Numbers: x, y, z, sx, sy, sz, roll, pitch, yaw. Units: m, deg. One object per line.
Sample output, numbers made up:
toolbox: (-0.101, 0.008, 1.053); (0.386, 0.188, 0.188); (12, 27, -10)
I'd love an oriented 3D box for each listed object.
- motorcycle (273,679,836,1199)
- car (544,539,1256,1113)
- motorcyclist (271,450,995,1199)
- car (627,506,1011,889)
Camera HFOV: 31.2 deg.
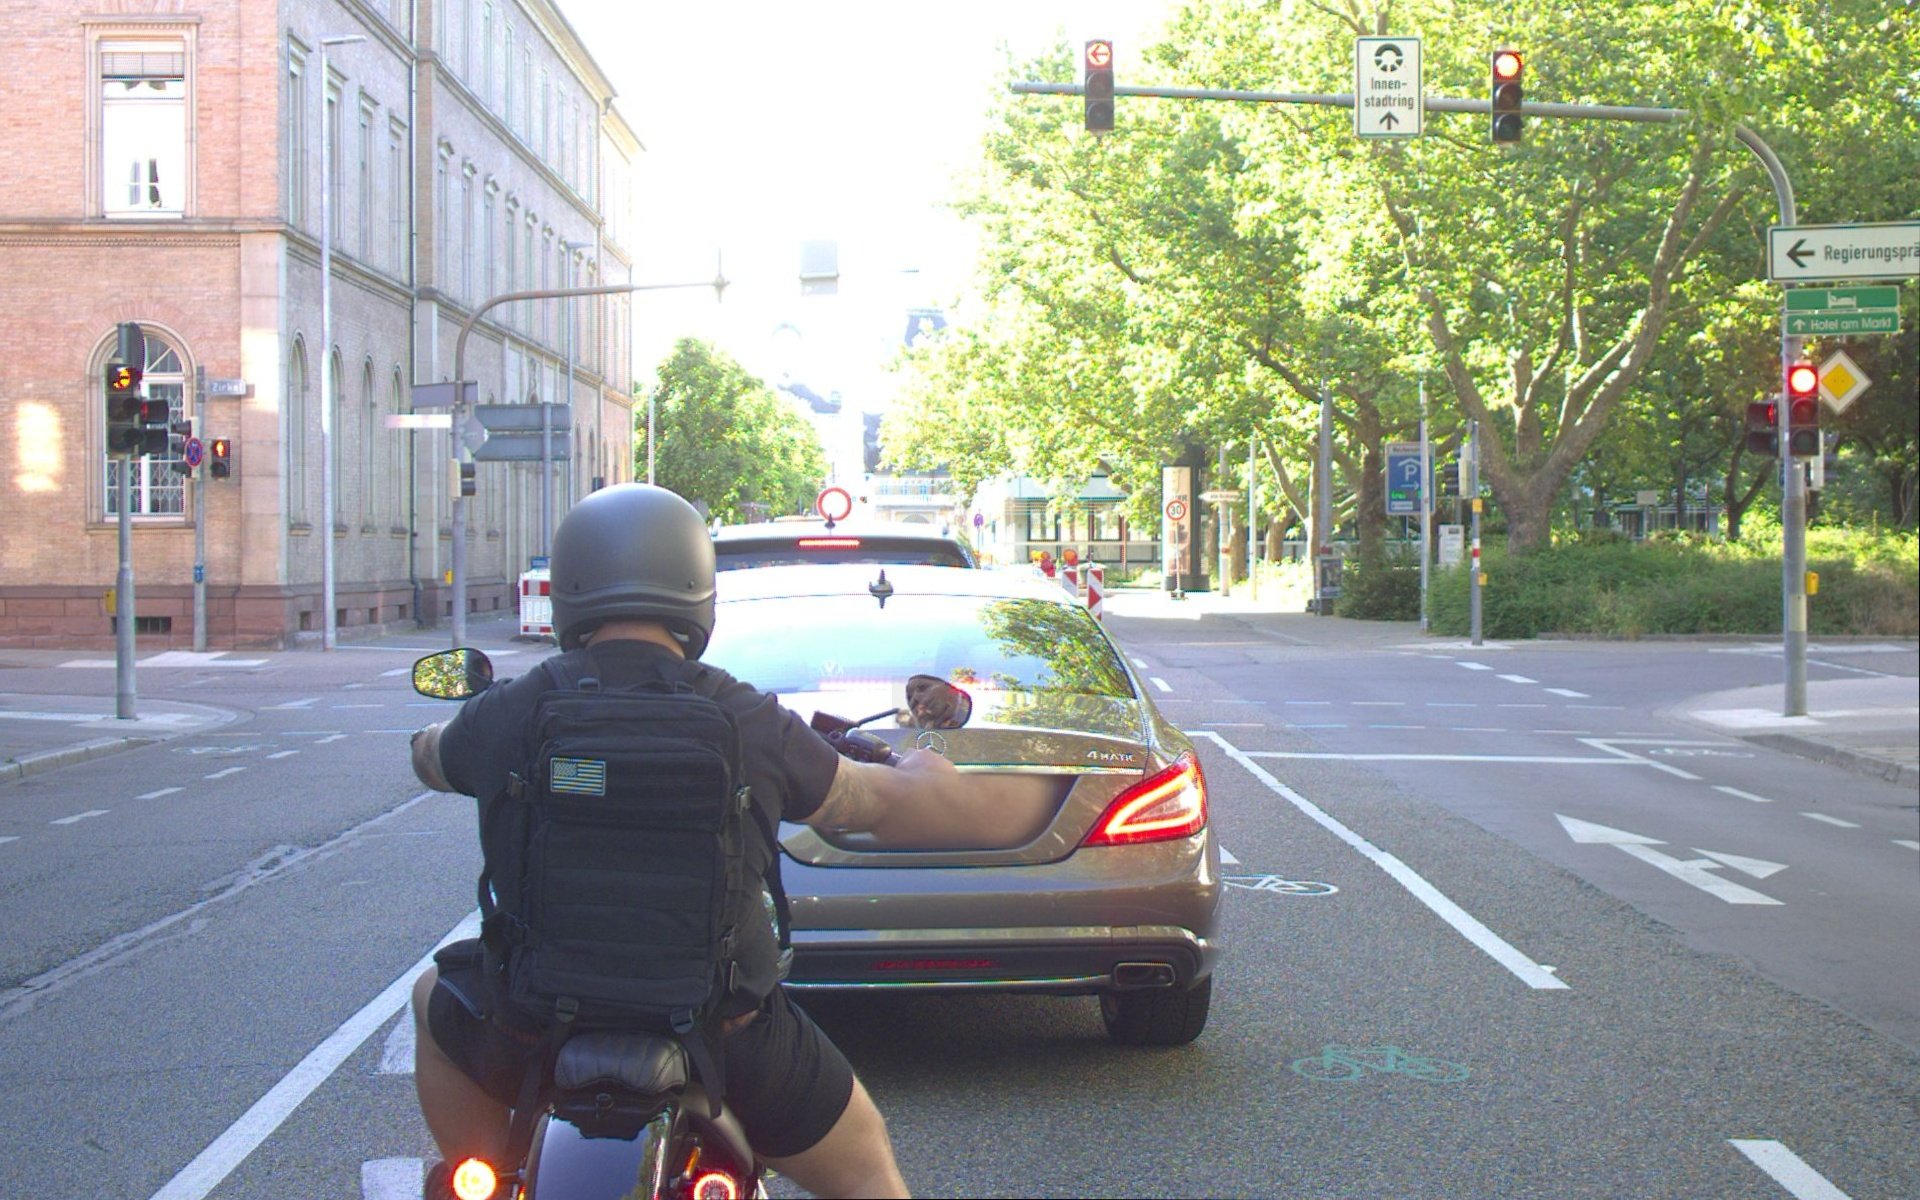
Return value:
motorcycle: (-0.560, 0.782, 5.421); (0.660, 1.236, 2.058); (1, 1, -1)
car: (-0.405, 0.569, 11.127); (1.824, 1.481, 4.334); (1, 1, -7)
motorcyclist: (-0.463, 0.596, 5.327); (0.990, 1.605, 1.120); (1, 0, -1)
car: (-0.636, 0.405, 16.972); (1.651, 1.646, 4.000); (1, 1, -1)
